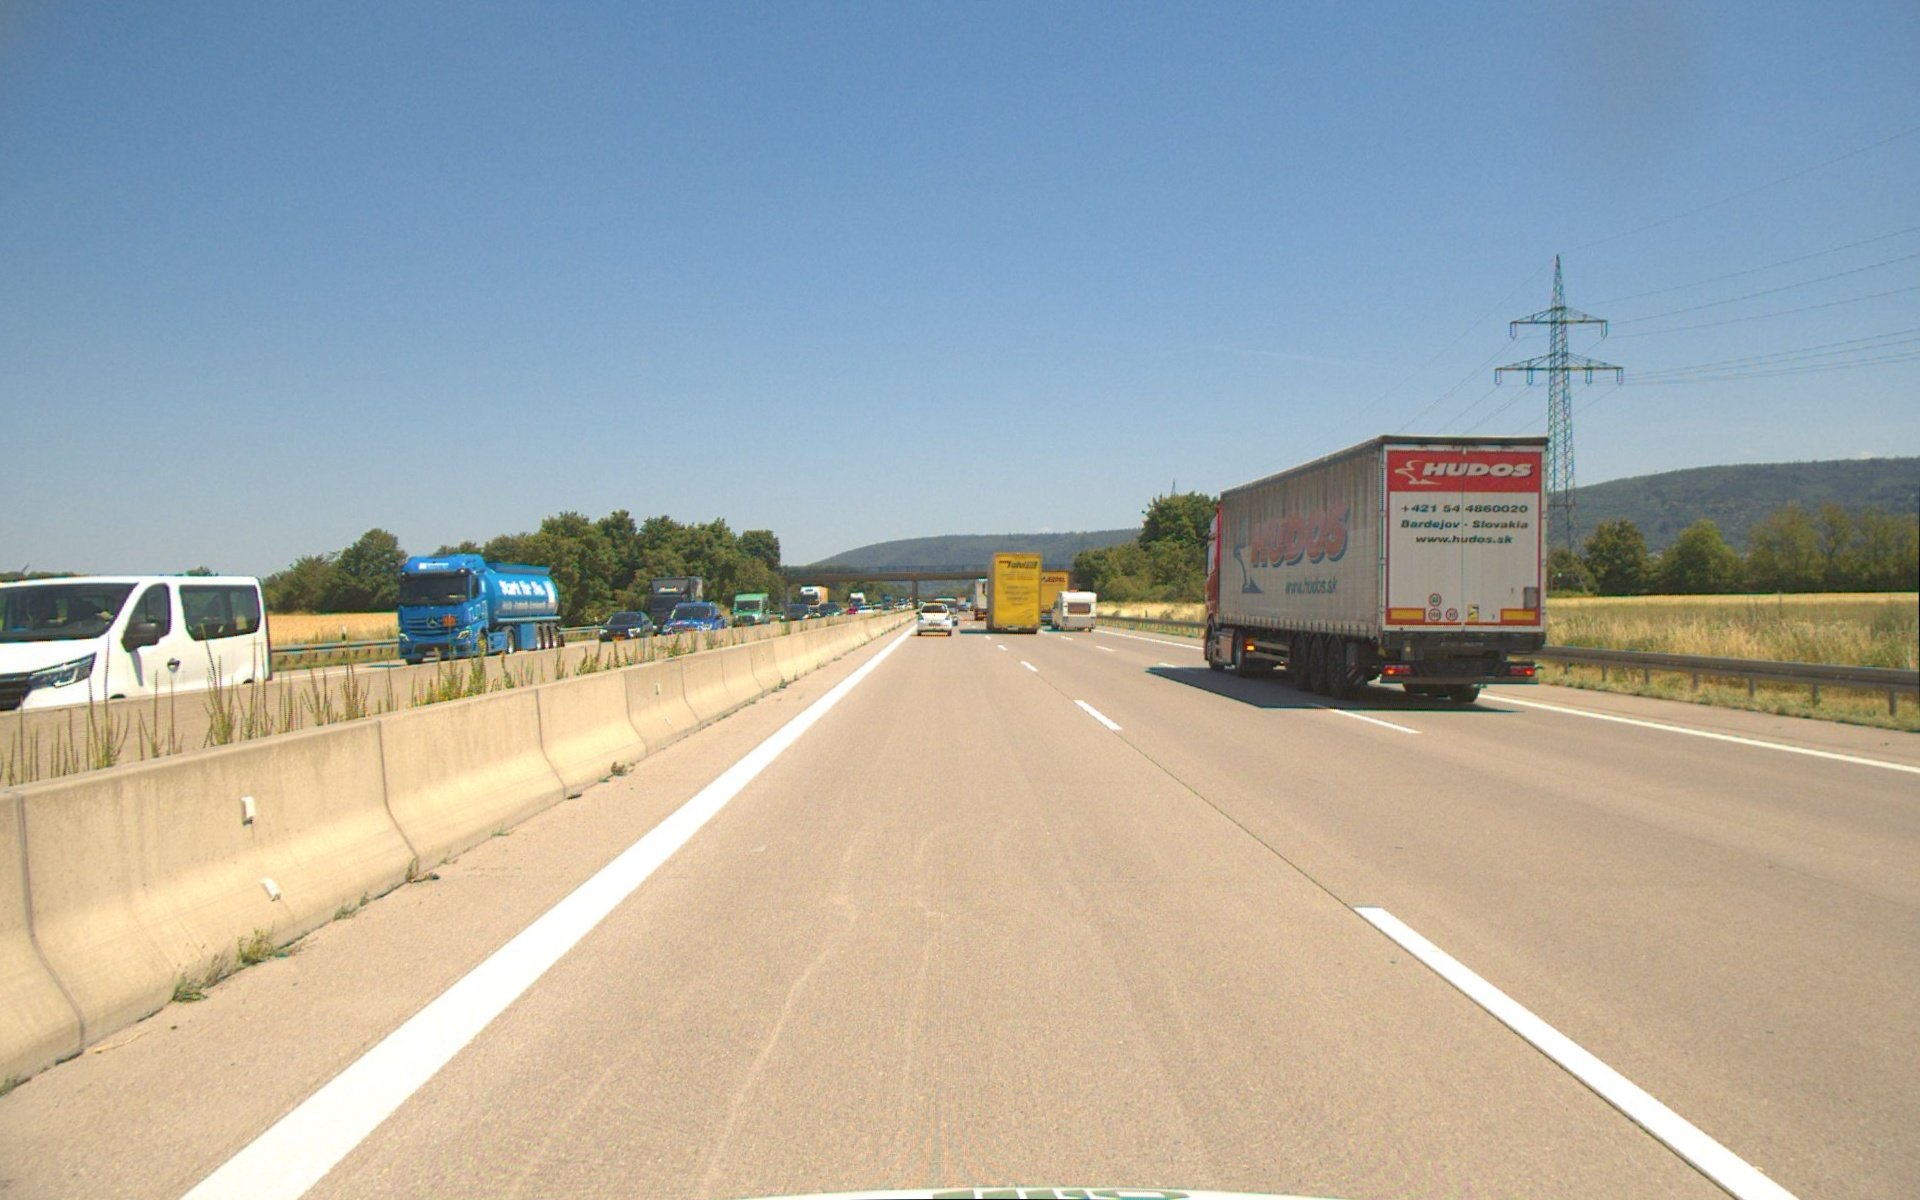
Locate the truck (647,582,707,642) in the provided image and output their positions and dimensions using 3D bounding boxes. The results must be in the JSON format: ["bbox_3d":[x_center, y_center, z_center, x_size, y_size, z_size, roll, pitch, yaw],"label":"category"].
[{"bbox_3d":[-17.759,0.746,104.164,2.503,3.574,7.883,-1,0,-1],"label":"truck"}]

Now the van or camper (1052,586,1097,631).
[{"bbox_3d":[6.783,0.478,98.605,2.179,2.575,5.430,1,0,-1],"label":"van or camper"}]

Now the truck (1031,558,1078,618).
[{"bbox_3d":[7.301,-0.898,128.554,2.938,4.390,9.682,1,0,-1],"label":"truck"}]

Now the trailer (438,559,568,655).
[{"bbox_3d":[-17.135,0.229,62.675,2.464,3.330,9.250,1,0,-1],"label":"trailer"}]

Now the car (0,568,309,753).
[{"bbox_3d":[-9.270,0.570,18.136,2.095,1.708,5.643,-1,0,-1],"label":"car"}]

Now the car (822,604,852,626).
[{"bbox_3d":[-9.535,1.134,128.595,1.953,1.604,4.848,1,0,-1],"label":"car"}]

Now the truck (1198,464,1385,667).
[{"bbox_3d":[7.361,-0.717,37.575,2.846,4.172,6.270,1,0,-1],"label":"truck"}]

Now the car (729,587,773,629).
[{"bbox_3d":[-13.548,0.522,107.583,2.105,2.595,6.462,0,0,-1],"label":"car"}]

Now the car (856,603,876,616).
[{"bbox_3d":[-10.784,1.111,189.941,1.953,1.388,4.669,-2,0,-1],"label":"car"}]

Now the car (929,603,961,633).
[{"bbox_3d":[-1.061,1.262,118.884,2.208,2.049,4.297,1,0,0],"label":"car"}]

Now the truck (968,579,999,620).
[{"bbox_3d":[2.218,-0.017,158.789,2.762,3.827,6.282,1,0,-1],"label":"truck"}]

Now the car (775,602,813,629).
[{"bbox_3d":[-10.122,0.906,101.095,1.901,1.585,4.888,-1,0,-1],"label":"car"}]

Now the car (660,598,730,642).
[{"bbox_3d":[-8.958,0.655,56.182,1.743,1.372,4.451,2,0,-2],"label":"car"}]

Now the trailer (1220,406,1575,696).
[{"bbox_3d":[7.434,-0.712,30.842,2.815,4.172,13.510,1,0,-1],"label":"trailer"}]

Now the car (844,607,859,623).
[{"bbox_3d":[-14.587,2.049,222.100,1.954,2.049,3.998,-1,0,-3],"label":"car"}]

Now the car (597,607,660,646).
[{"bbox_3d":[-13.423,1.044,67.191,1.684,1.473,4.707,1,0,-1],"label":"car"}]

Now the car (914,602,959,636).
[{"bbox_3d":[-1.097,0.877,79.461,2.064,1.563,4.122,1,0,1],"label":"car"}]

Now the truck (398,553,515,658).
[{"bbox_3d":[-17.021,0.186,56.223,2.433,3.367,5.262,1,0,-1],"label":"truck"}]

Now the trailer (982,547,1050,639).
[{"bbox_3d":[2.940,-0.366,91.196,3.150,4.643,13.455,1,0,0],"label":"trailer"}]
